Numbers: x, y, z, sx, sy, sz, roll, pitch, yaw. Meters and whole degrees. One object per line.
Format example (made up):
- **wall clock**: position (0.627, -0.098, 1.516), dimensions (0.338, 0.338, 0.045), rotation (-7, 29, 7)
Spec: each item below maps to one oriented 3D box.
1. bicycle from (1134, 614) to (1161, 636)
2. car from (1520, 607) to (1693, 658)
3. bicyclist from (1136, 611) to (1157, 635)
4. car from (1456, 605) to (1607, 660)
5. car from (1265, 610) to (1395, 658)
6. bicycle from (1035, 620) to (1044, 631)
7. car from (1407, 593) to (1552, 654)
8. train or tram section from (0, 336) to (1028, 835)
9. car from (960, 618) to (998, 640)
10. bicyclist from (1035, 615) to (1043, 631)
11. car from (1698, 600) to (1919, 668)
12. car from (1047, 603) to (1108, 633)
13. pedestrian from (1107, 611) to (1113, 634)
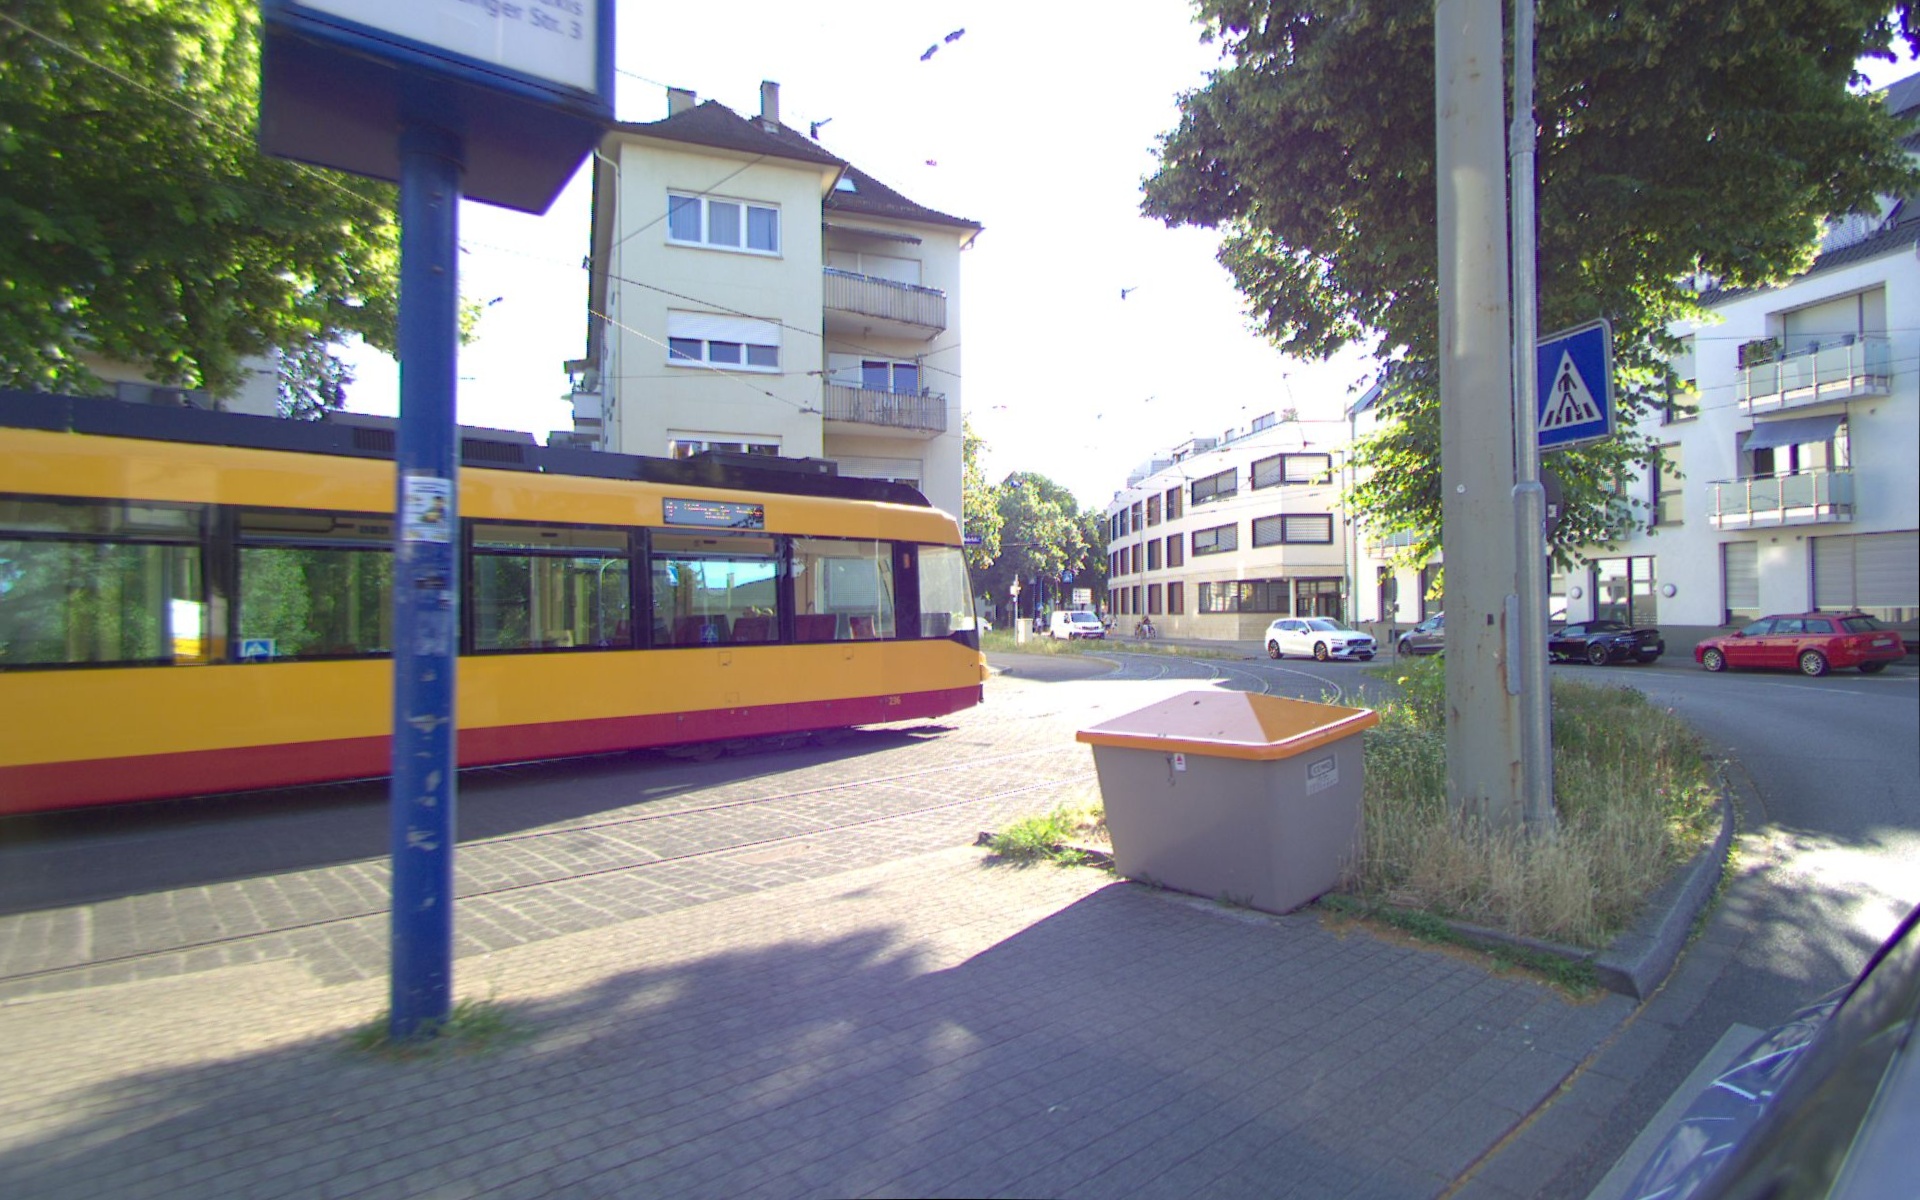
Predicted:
- **bicycle**: position (12.349, 1.651, 66.771), dimensions (0.911, 1.411, 2.980), rotation (-1, -1, -7)
- **car**: position (19.001, 0.932, 29.988), dimensions (1.895, 1.364, 4.132), rotation (-1, -1, -13)
- **bicyclist**: position (12.344, 1.509, 67.061), dimensions (1.129, 1.538, 0.955), rotation (-1, -1, -8)
- **car**: position (16.494, 0.907, 29.431), dimensions (1.573, 1.481, 3.908), rotation (0, -1, -12)
- **car**: position (12.286, 1.088, 33.950), dimensions (1.958, 1.481, 4.457), rotation (0, -1, -14)
- **bicycle**: position (6.035, 1.949, 77.017), dimensions (0.495, 0.846, 1.844), rotation (-1, -1, -1)
- **car**: position (17.937, 0.766, 35.200), dimensions (1.958, 1.981, 4.281), rotation (0, 0, -20)
- **train or tram section**: position (-4.953, -0.090, 10.589), dimensions (13.232, 3.465, 2.961), rotation (0, 0, -42)
- **car**: position (1.471, 2.273, 80.525), dimensions (1.958, 1.604, 4.943), rotation (0, 0, -12)
- **bicyclist**: position (6.031, 1.757, 77.046), dimensions (0.567, 1.228, 0.663), rotation (-1, -1, 0)
- **car**: position (20.408, 0.815, 24.487), dimensions (1.574, 1.481, 4.211), rotation (-1, -2, -8)
- **car**: position (6.617, 0.987, 57.554), dimensions (1.958, 1.604, 4.943), rotation (0, 0, -12)
- **pedestrian**: position (11.572, 1.733, 78.174), dimensions (0.394, 1.747, 0.399), rotation (-1, -1, 10)
